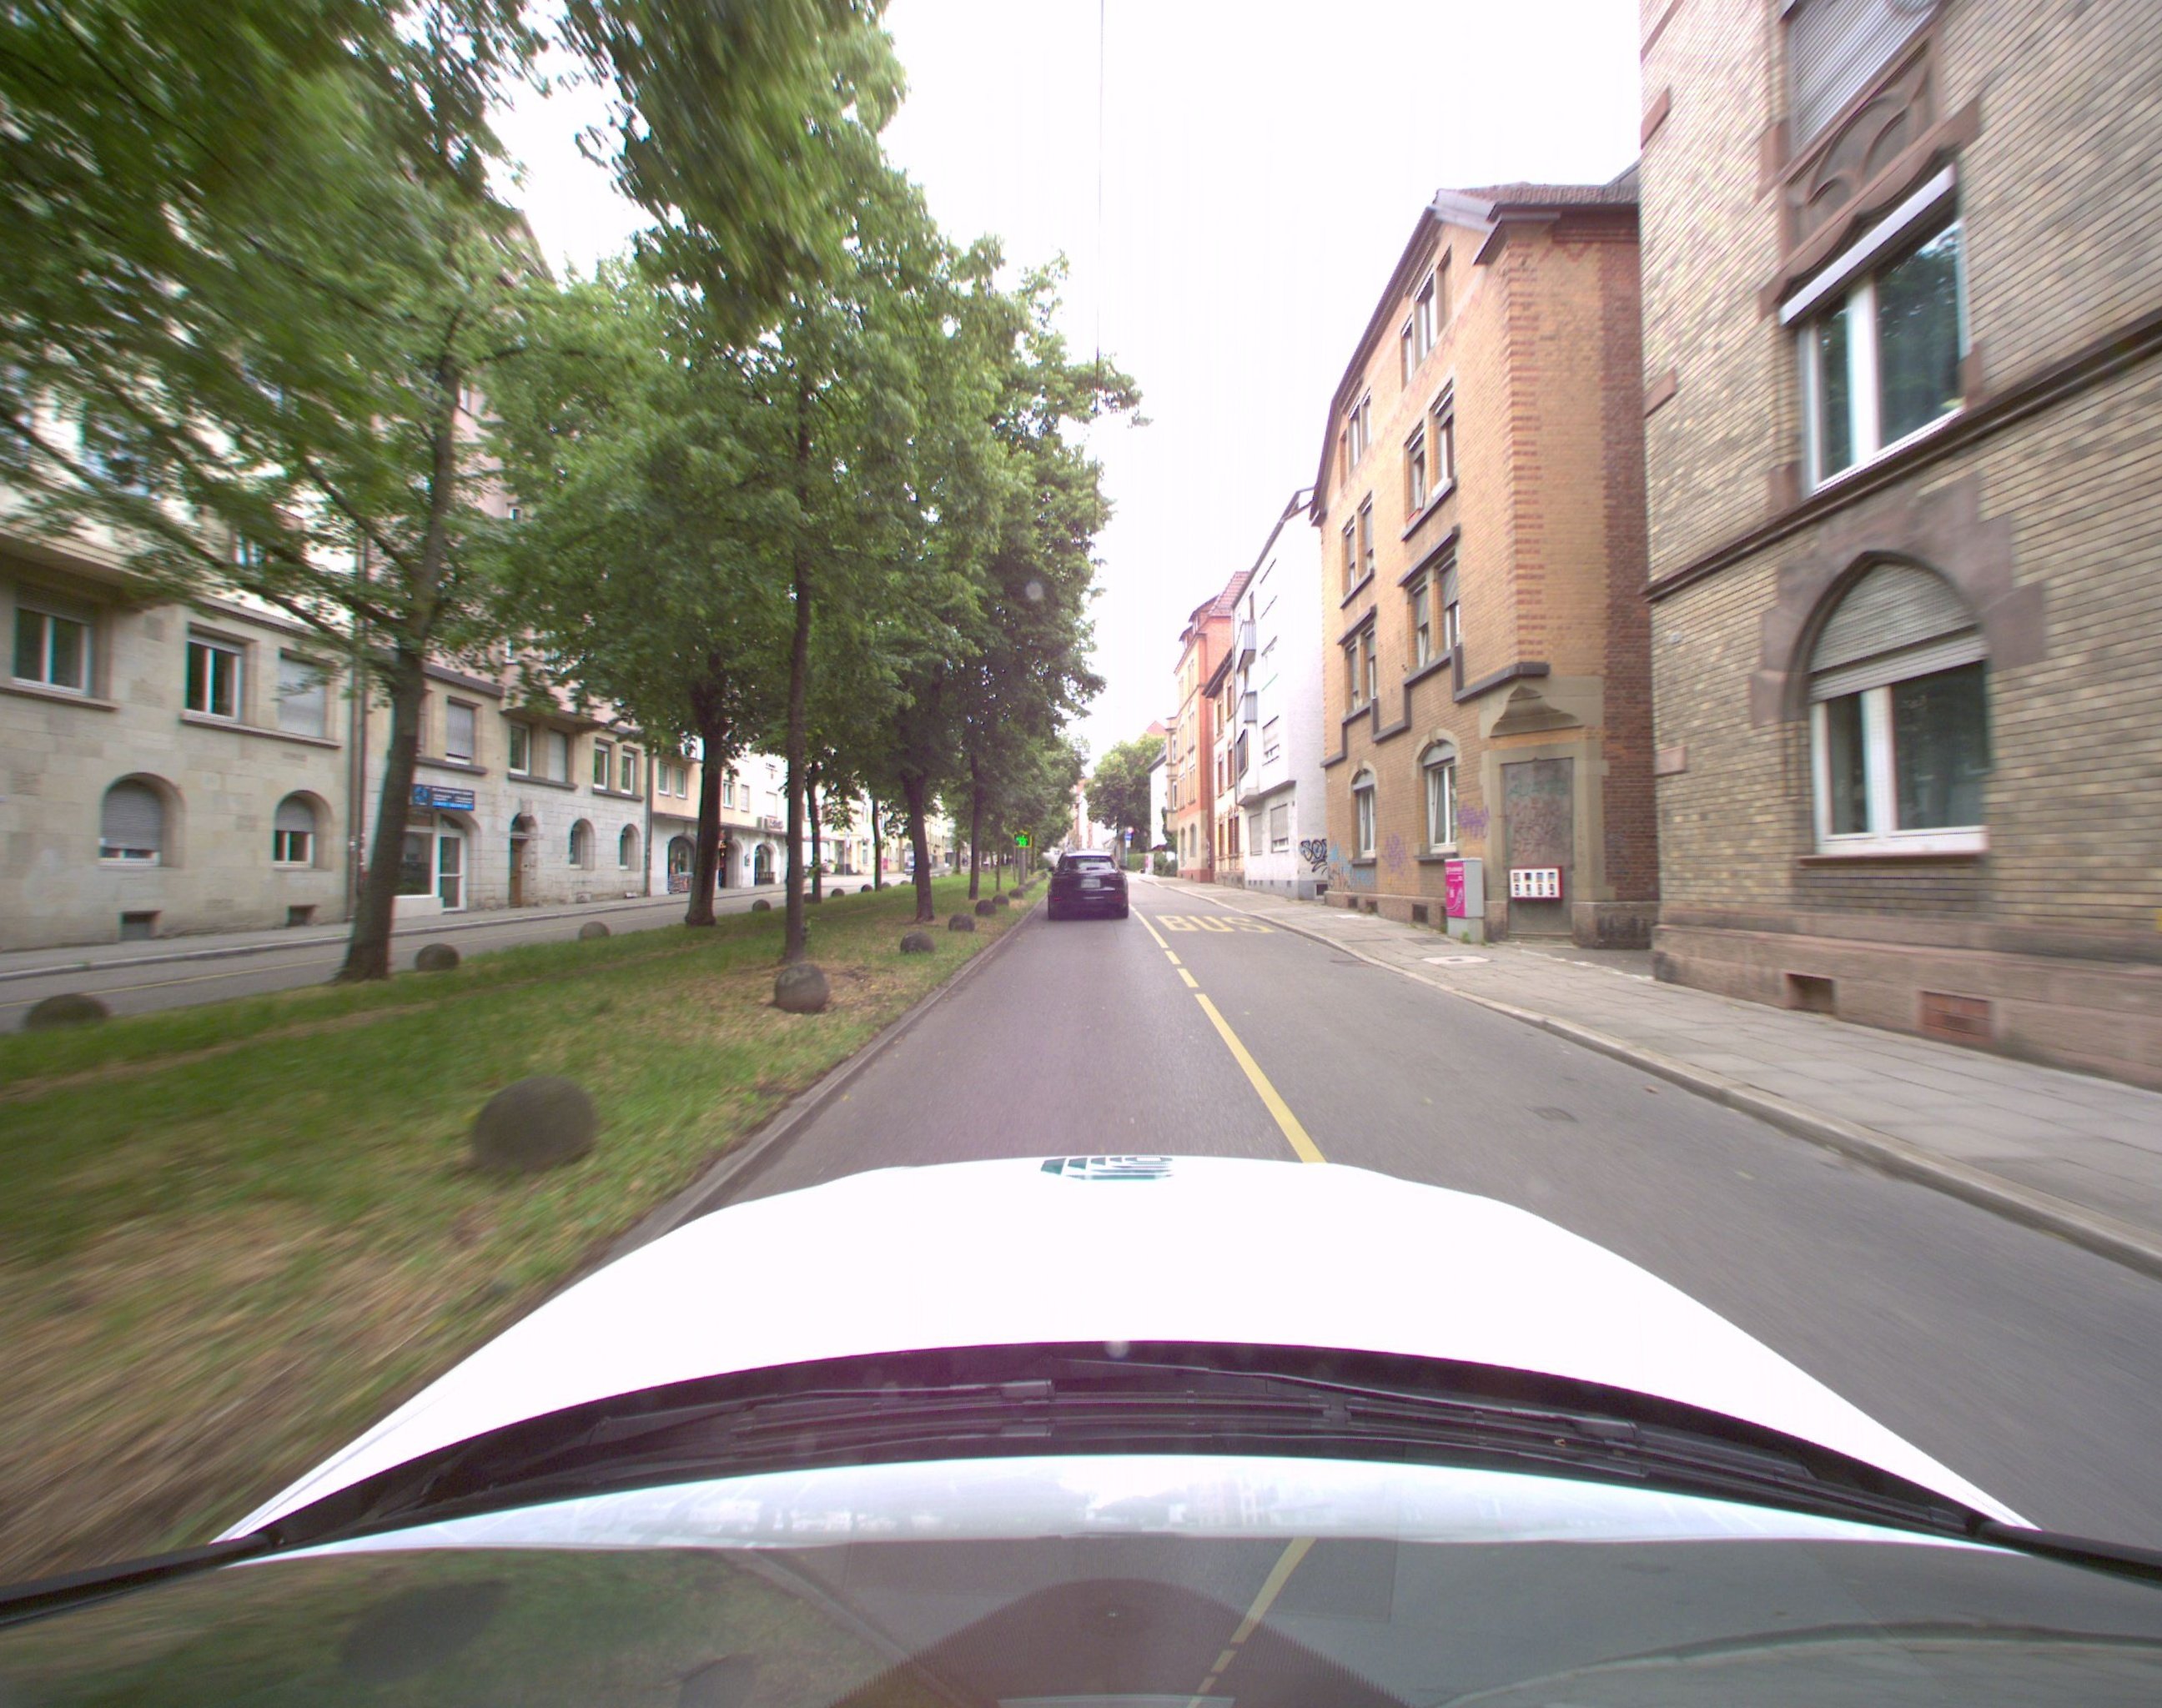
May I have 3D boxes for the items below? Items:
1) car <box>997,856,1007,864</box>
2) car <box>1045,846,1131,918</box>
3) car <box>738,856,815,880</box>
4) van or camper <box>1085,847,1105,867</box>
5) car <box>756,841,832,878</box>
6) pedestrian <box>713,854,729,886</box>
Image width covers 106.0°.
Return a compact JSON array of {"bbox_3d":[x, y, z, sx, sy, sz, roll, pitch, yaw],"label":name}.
[{"bbox_3d":[-17.903,1.385,184.852,1.945,1.628,4.358,-6,0,-4],"label":"car"},{"bbox_3d":[0.073,0.662,21.104,1.900,1.666,4.129,0,-1,-5],"label":"car"},{"bbox_3d":[-20.225,0.932,54.227,4.275,1.420,2.047,2,0,-1],"label":"car"},{"bbox_3d":[1.926,0.451,116.027,2.474,2.803,7.231,0,-1,-2],"label":"van or camper"},{"bbox_3d":[-22.090,0.438,62.887,5.174,2.736,2.169,1,-1,-11],"label":"car"},{"bbox_3d":[-19.088,0.846,43.168,0.530,1.666,0.701,-1,-1,-1],"label":"pedestrian"}]
